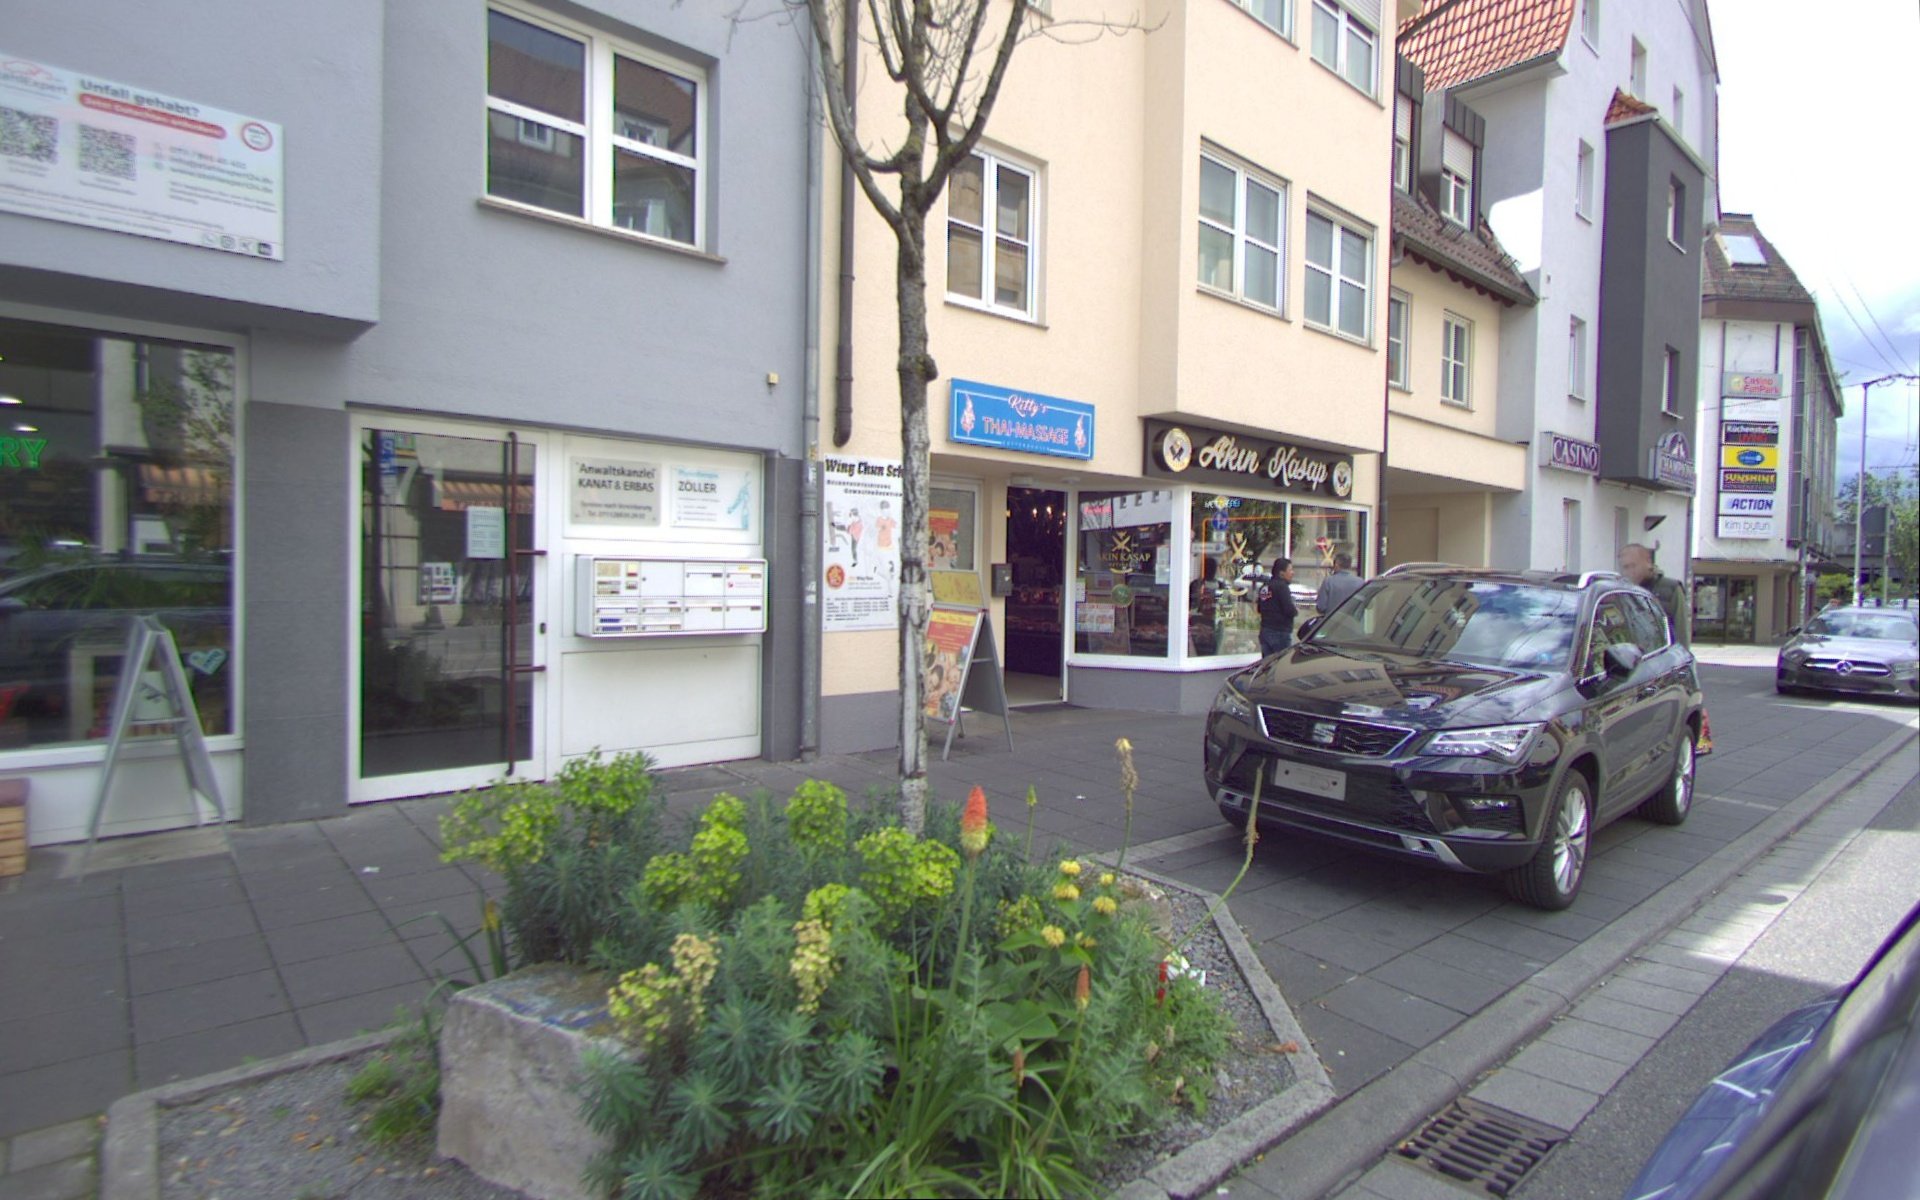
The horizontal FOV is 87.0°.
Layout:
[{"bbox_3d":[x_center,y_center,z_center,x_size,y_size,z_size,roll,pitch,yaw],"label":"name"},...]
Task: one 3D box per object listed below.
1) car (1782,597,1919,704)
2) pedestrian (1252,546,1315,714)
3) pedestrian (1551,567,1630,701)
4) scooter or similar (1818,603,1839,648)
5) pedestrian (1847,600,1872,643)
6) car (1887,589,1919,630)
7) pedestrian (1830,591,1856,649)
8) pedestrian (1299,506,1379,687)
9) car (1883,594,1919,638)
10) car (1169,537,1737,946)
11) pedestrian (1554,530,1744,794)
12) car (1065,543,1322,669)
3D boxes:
[{"bbox_3d":[14.768,0.712,16.175,4.241,1.438,1.711,-1,1,-39],"label":"car"},{"bbox_3d":[3.460,0.306,10.823,0.528,1.739,0.436,-1,0,-44],"label":"pedestrian"},{"bbox_3d":[8.535,0.432,13.710,0.645,1.739,0.744,-1,2,-42],"label":"pedestrian"},{"bbox_3d":[26.268,0.753,30.612,0.430,1.296,1.230,0,0,43],"label":"scooter or similar"},{"bbox_3d":[33.593,0.790,37.789,0.469,1.582,0.660,-1,0,-44],"label":"pedestrian"},{"bbox_3d":[42.896,0.423,45.120,4.390,1.681,1.824,0,3,-42],"label":"car"},{"bbox_3d":[26.674,0.608,30.565,0.570,1.724,0.474,0,0,42],"label":"pedestrian"},{"bbox_3d":[3.803,-0.038,10.152,0.596,1.739,0.536,-1,0,-43],"label":"pedestrian"},{"bbox_3d":[34.337,0.535,36.204,4.478,1.472,1.716,0,1,-45],"label":"car"},{"bbox_3d":[3.229,0.529,6.176,4.135,1.623,1.801,0,3,-45],"label":"car"},{"bbox_3d":[5.361,0.415,7.893,0.850,1.886,0.977,-1,4,-42],"label":"pedestrian"},{"bbox_3d":[4.254,0.013,19.014,1.920,1.955,4.358,0,4,-40],"label":"car"}]
